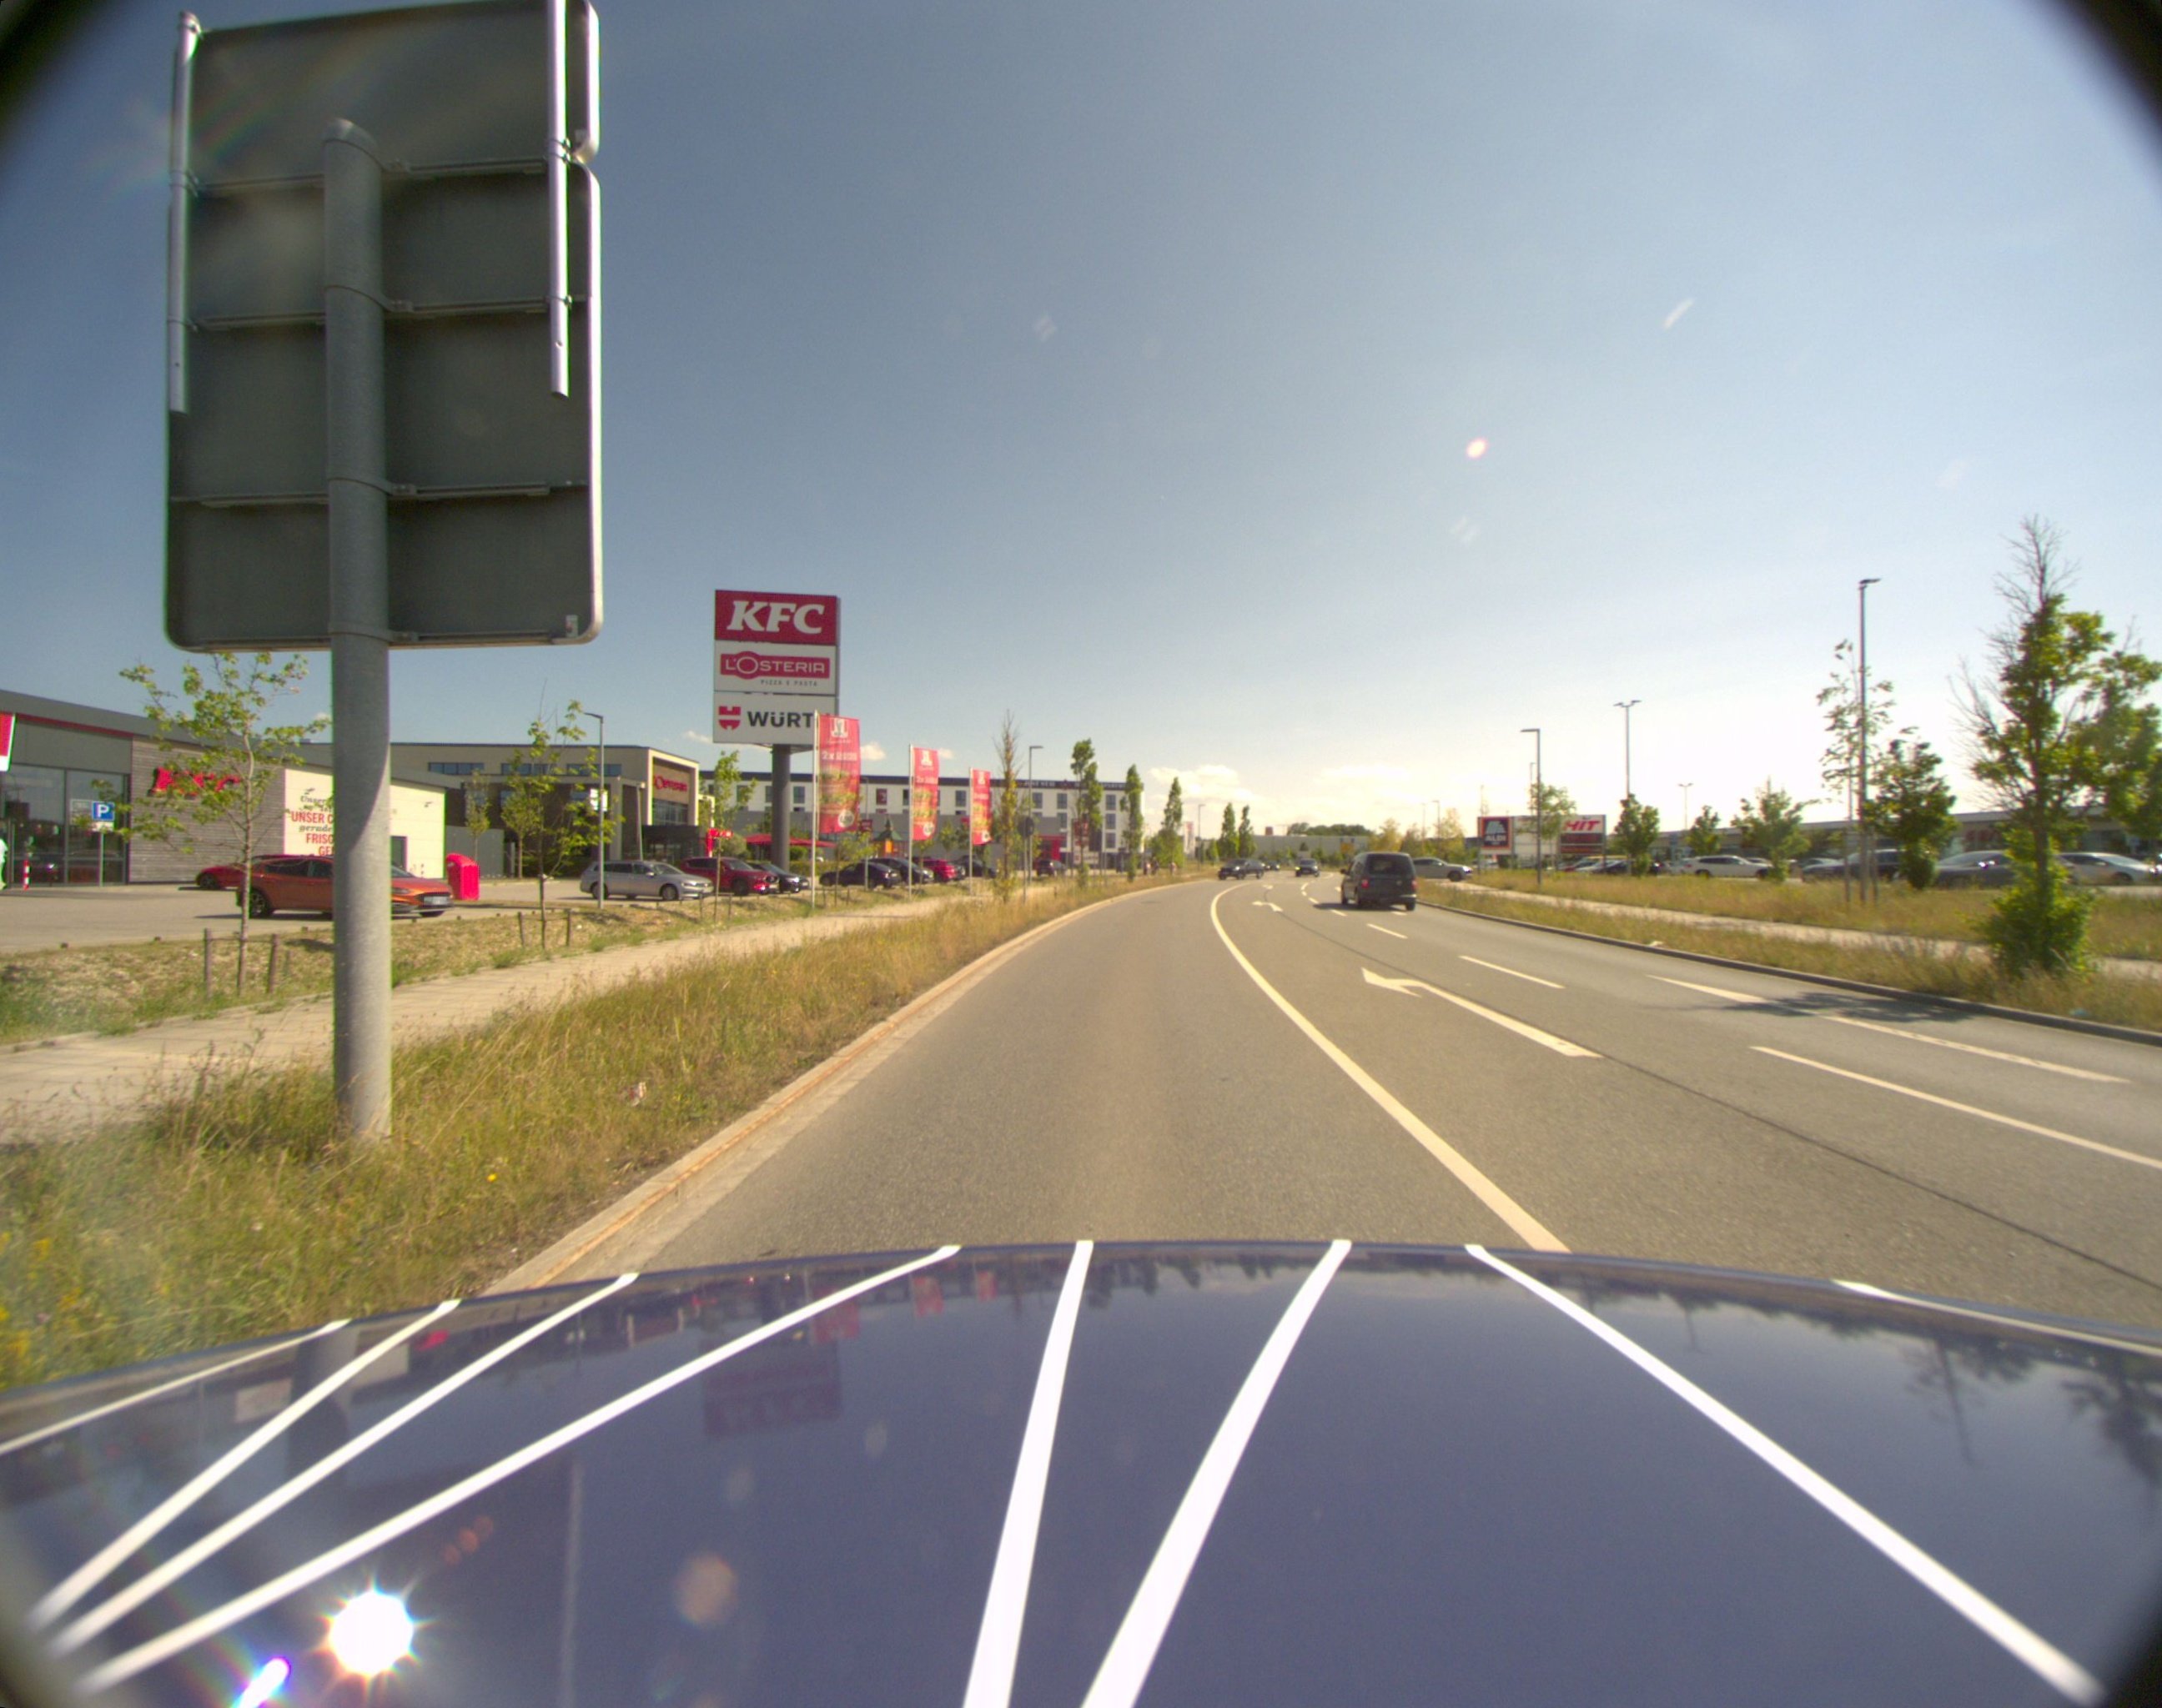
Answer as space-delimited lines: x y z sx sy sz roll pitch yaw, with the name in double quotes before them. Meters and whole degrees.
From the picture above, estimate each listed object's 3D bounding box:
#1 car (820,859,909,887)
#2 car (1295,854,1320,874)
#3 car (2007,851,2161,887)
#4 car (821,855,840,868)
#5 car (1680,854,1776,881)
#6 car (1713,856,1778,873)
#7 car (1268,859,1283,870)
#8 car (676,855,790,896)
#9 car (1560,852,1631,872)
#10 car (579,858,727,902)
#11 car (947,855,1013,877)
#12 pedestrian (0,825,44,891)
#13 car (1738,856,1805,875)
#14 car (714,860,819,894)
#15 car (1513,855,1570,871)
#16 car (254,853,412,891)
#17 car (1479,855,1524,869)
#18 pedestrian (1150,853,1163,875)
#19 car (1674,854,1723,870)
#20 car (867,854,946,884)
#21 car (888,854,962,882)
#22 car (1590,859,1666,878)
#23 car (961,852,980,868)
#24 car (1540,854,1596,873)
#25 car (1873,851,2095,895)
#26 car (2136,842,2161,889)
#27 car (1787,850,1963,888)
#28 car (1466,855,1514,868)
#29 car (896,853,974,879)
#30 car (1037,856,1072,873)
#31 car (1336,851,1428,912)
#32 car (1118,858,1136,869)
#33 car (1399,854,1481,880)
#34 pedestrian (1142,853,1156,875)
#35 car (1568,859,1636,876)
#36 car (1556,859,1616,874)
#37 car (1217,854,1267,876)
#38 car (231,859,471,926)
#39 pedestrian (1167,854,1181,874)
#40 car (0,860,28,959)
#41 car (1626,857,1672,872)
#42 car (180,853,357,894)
"car" -12.077 1.055 42.440 4.411 1.440 1.793 1 0 15
"car" 19.778 0.856 66.252 1.754 1.677 4.388 0 0 20
"car" 45.054 0.637 34.021 1.837 1.503 4.381 0 0 0
"car" -28.624 0.839 86.906 1.702 1.454 4.104 0 0 -12
"car" 38.868 0.789 45.688 1.921 1.538 4.214 0 0 -44
"car" 57.645 0.933 66.036 1.716 1.408 4.354 0 0 -2
"car" 26.239 1.368 102.505 1.784 1.485 4.004 0 0 12
"car" -15.009 0.908 32.807 4.160 1.655 1.871 1 0 13
"car" 52.234 0.771 77.246 5.691 1.953 2.002 0 0 9
"car" -15.822 0.945 28.173 4.563 1.481 1.870 1 0 9
"car" -7.517 0.886 56.794 4.412 1.557 1.997 1 0 14
"pedestrian" -33.257 0.120 23.585 0.915 2.002 0.891 0 0 2
"car" 60.076 0.982 66.206 1.716 1.540 4.354 0 0 -2
"car" -14.562 1.042 35.295 4.162 1.440 1.792 1 0 7
"car" 48.579 0.967 80.216 4.775 1.662 1.884 0 0 13
"car" -30.909 0.735 31.489 4.567 1.423 1.868 1 0 -2
"car" 52.736 1.021 95.313 4.597 1.662 2.002 0 0 11
"pedestrian" 5.611 0.750 56.400 0.802 1.620 0.806 -1 0 19
"car" 68.136 0.886 83.893 1.716 1.730 4.584 0 0 1
"car" -10.808 0.930 47.014 4.411 1.724 1.794 1 0 16
"car" -10.277 0.931 49.998 4.411 1.724 1.794 1 0 16
"car" 40.307 1.067 56.073 4.148 1.340 1.939 0 0 19
"car" -12.938 0.673 88.975 2.049 1.805 4.920 0 0 -10
"car" 46.787 0.900 73.112 4.149 1.850 1.935 0 0 17
"car" 29.749 0.613 25.203 4.430 1.375 1.977 0 0 14
"car" 42.263 0.440 27.582 1.837 1.813 4.381 0 0 0
"car" 31.442 0.588 30.237 4.582 1.450 1.840 0 0 14
"car" 53.903 0.985 100.272 5.191 1.662 2.001 0 0 6
"car" -10.255 0.825 53.419 4.988 1.724 1.942 1 0 14
"car" -2.382 0.951 69.083 1.782 1.531 4.175 0 0 20
"car" 9.787 0.845 25.062 1.954 1.784 4.431 1 0 10
"car" 5.641 1.153 92.313 1.515 1.399 4.005 0 0 13
"car" 24.282 0.898 51.388 4.764 1.633 2.120 -1 -2 31
"pedestrian" 5.124 0.757 57.219 0.810 1.619 0.867 -1 0 19
"car" 42.144 1.081 61.575 4.148 1.340 1.939 0 0 19
"car" 45.389 1.091 68.436 4.148 1.340 1.939 0 0 19
"car" 12.667 0.881 59.692 1.897 1.669 4.477 -2 -2 41
"car" -17.566 0.883 18.394 4.213 1.481 1.870 1 0 5
"pedestrian" 6.953 0.772 56.825 0.793 1.461 0.950 -1 0 19
"car" -18.537 0.809 10.948 4.535 1.481 1.870 1 0 5
"car" 62.519 1.143 83.709 1.716 1.517 4.354 0 0 -3
"car" -30.597 0.718 28.716 4.567 1.423 1.868 1 0 -2
